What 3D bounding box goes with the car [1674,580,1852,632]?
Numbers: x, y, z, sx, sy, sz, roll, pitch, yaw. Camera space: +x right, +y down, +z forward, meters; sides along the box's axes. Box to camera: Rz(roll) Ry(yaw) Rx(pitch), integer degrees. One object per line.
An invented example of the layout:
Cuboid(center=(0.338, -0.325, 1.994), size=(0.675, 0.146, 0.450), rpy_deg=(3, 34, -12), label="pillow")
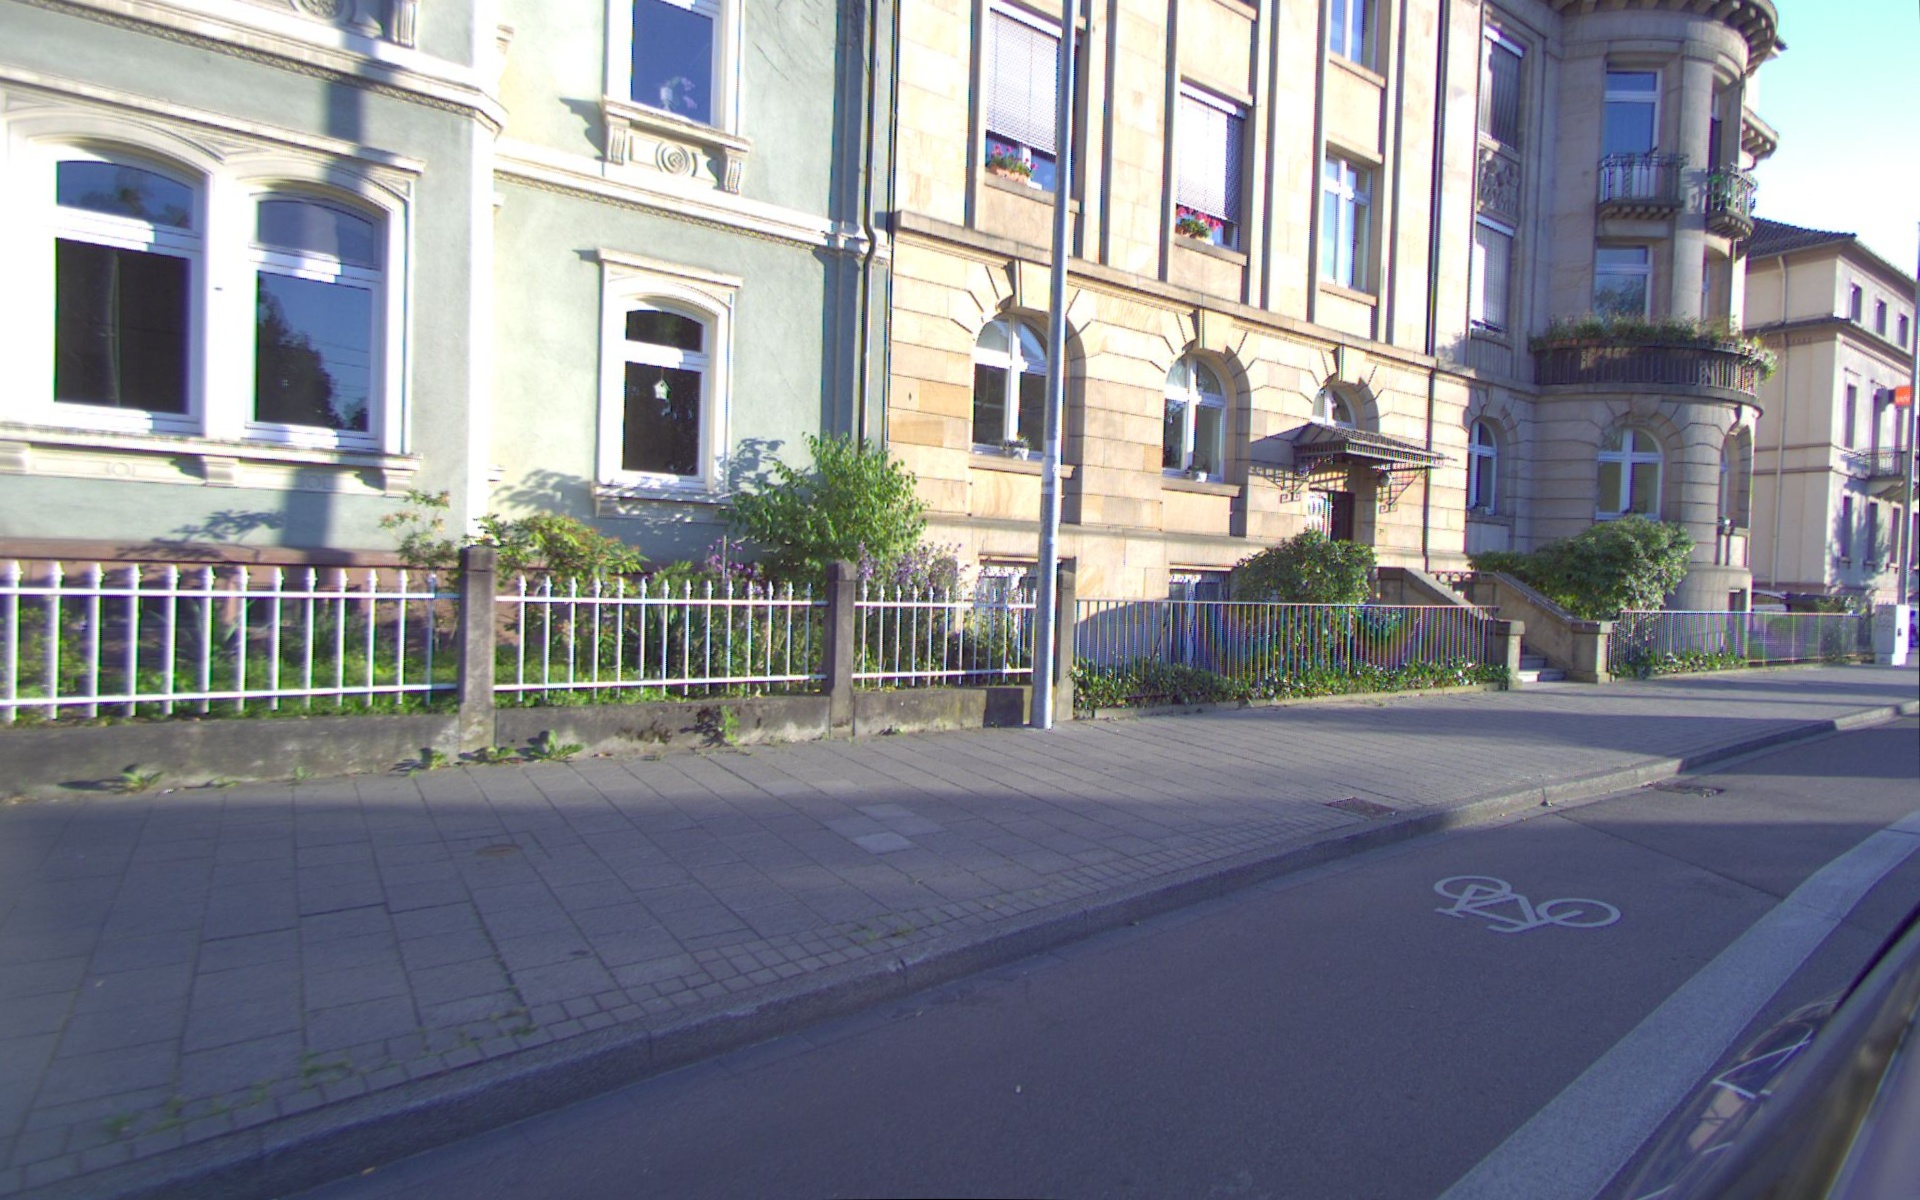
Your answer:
Cuboid(center=(25.655, 0.166, 32.466), size=(1.901, 1.499, 4.101), rpy_deg=(1, 1, -34), label="car")
